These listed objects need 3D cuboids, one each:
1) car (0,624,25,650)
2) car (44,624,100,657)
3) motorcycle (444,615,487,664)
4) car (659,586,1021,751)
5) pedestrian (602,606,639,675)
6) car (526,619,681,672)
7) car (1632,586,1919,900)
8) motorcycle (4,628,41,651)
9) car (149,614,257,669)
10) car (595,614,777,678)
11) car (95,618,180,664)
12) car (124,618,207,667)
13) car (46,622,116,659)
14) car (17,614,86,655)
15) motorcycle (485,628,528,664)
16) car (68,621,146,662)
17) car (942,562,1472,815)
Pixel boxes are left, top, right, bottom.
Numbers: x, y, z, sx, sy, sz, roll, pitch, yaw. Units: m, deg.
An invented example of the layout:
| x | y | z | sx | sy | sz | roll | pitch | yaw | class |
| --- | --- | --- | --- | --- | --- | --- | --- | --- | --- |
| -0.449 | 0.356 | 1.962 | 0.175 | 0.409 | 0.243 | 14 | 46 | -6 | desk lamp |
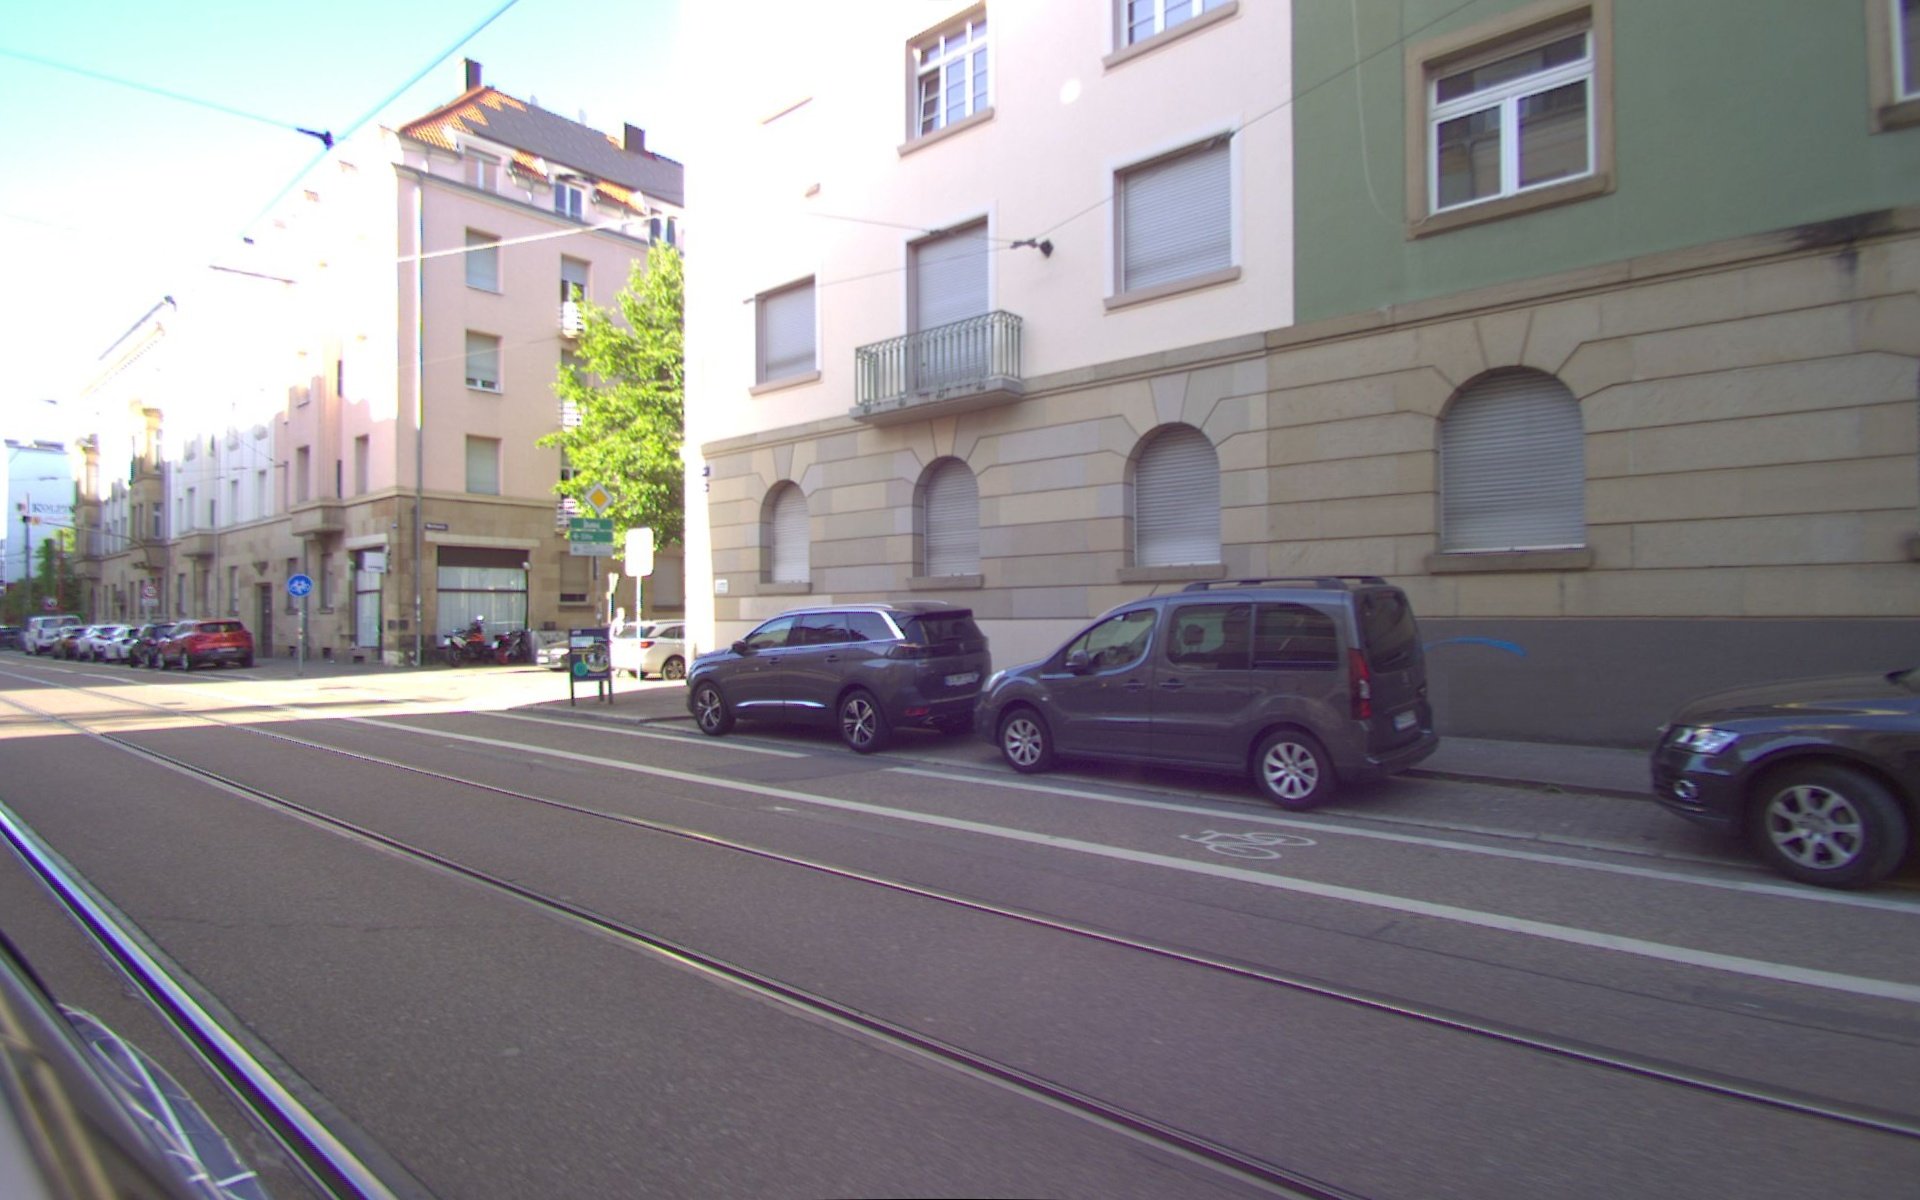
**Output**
| x | y | z | sx | sy | sz | roll | pitch | yaw | class |
| --- | --- | --- | --- | --- | --- | --- | --- | --- | --- |
| -61.522 | 2.372 | 65.052 | 4.610 | 1.577 | 1.764 | -1 | 1 | 43 | car |
| -43.799 | 1.975 | 49.893 | 3.644 | 1.484 | 1.586 | -1 | 1 | 41 | car |
| -14.993 | 1.182 | 30.720 | 0.934 | 1.429 | 2.032 | 0 | -1 | -19 | motorcycle |
| -1.655 | 0.754 | 12.770 | 4.663 | 1.703 | 1.766 | -1 | 1 | 39 | car |
| -8.642 | 1.027 | 25.738 | 0.731 | 1.725 | 0.600 | -2 | -1 | 41 | pedestrian |
| -10.377 | 1.305 | 29.670 | 1.746 | 1.405 | 3.946 | -3 | -2 | 40 | car |
| 6.454 | 0.733 | 5.414 | 4.604 | 1.639 | 1.766 | -1 | 1 | 39 | car |
| -56.577 | 2.378 | 61.104 | 0.871 | 1.361 | 1.963 | -1 | 0 | -17 | motorcycle |
| -24.640 | 1.324 | 32.902 | 4.392 | 1.618 | 1.766 | -1 | 1 | 39 | car |
| -6.846 | 1.124 | 25.605 | 1.781 | 1.476 | 4.174 | -3 | -2 | 40 | car |
| -32.555 | 1.602 | 40.020 | 4.175 | 1.634 | 1.766 | -1 | 1 | 39 | car |
| -28.111 | 1.470 | 35.791 | 3.017 | 1.564 | 1.765 | -1 | 1 | 41 | car |
| -40.453 | 1.827 | 46.541 | 4.356 | 1.535 | 1.765 | -1 | 1 | 40 | car |
| -47.812 | 1.784 | 53.203 | 5.247 | 1.963 | 1.953 | -1 | 1 | 40 | car |
| -14.158 | 1.420 | 31.657 | 0.549 | 1.043 | 2.037 | -1 | -1 | -3 | motorcycle |
| -36.406 | 1.741 | 43.157 | 4.361 | 1.558 | 1.754 | -1 | 1 | 39 | car |
| 2.102 | 0.661 | 9.528 | 4.527 | 1.829 | 1.764 | -1 | 1 | 42 | car |
